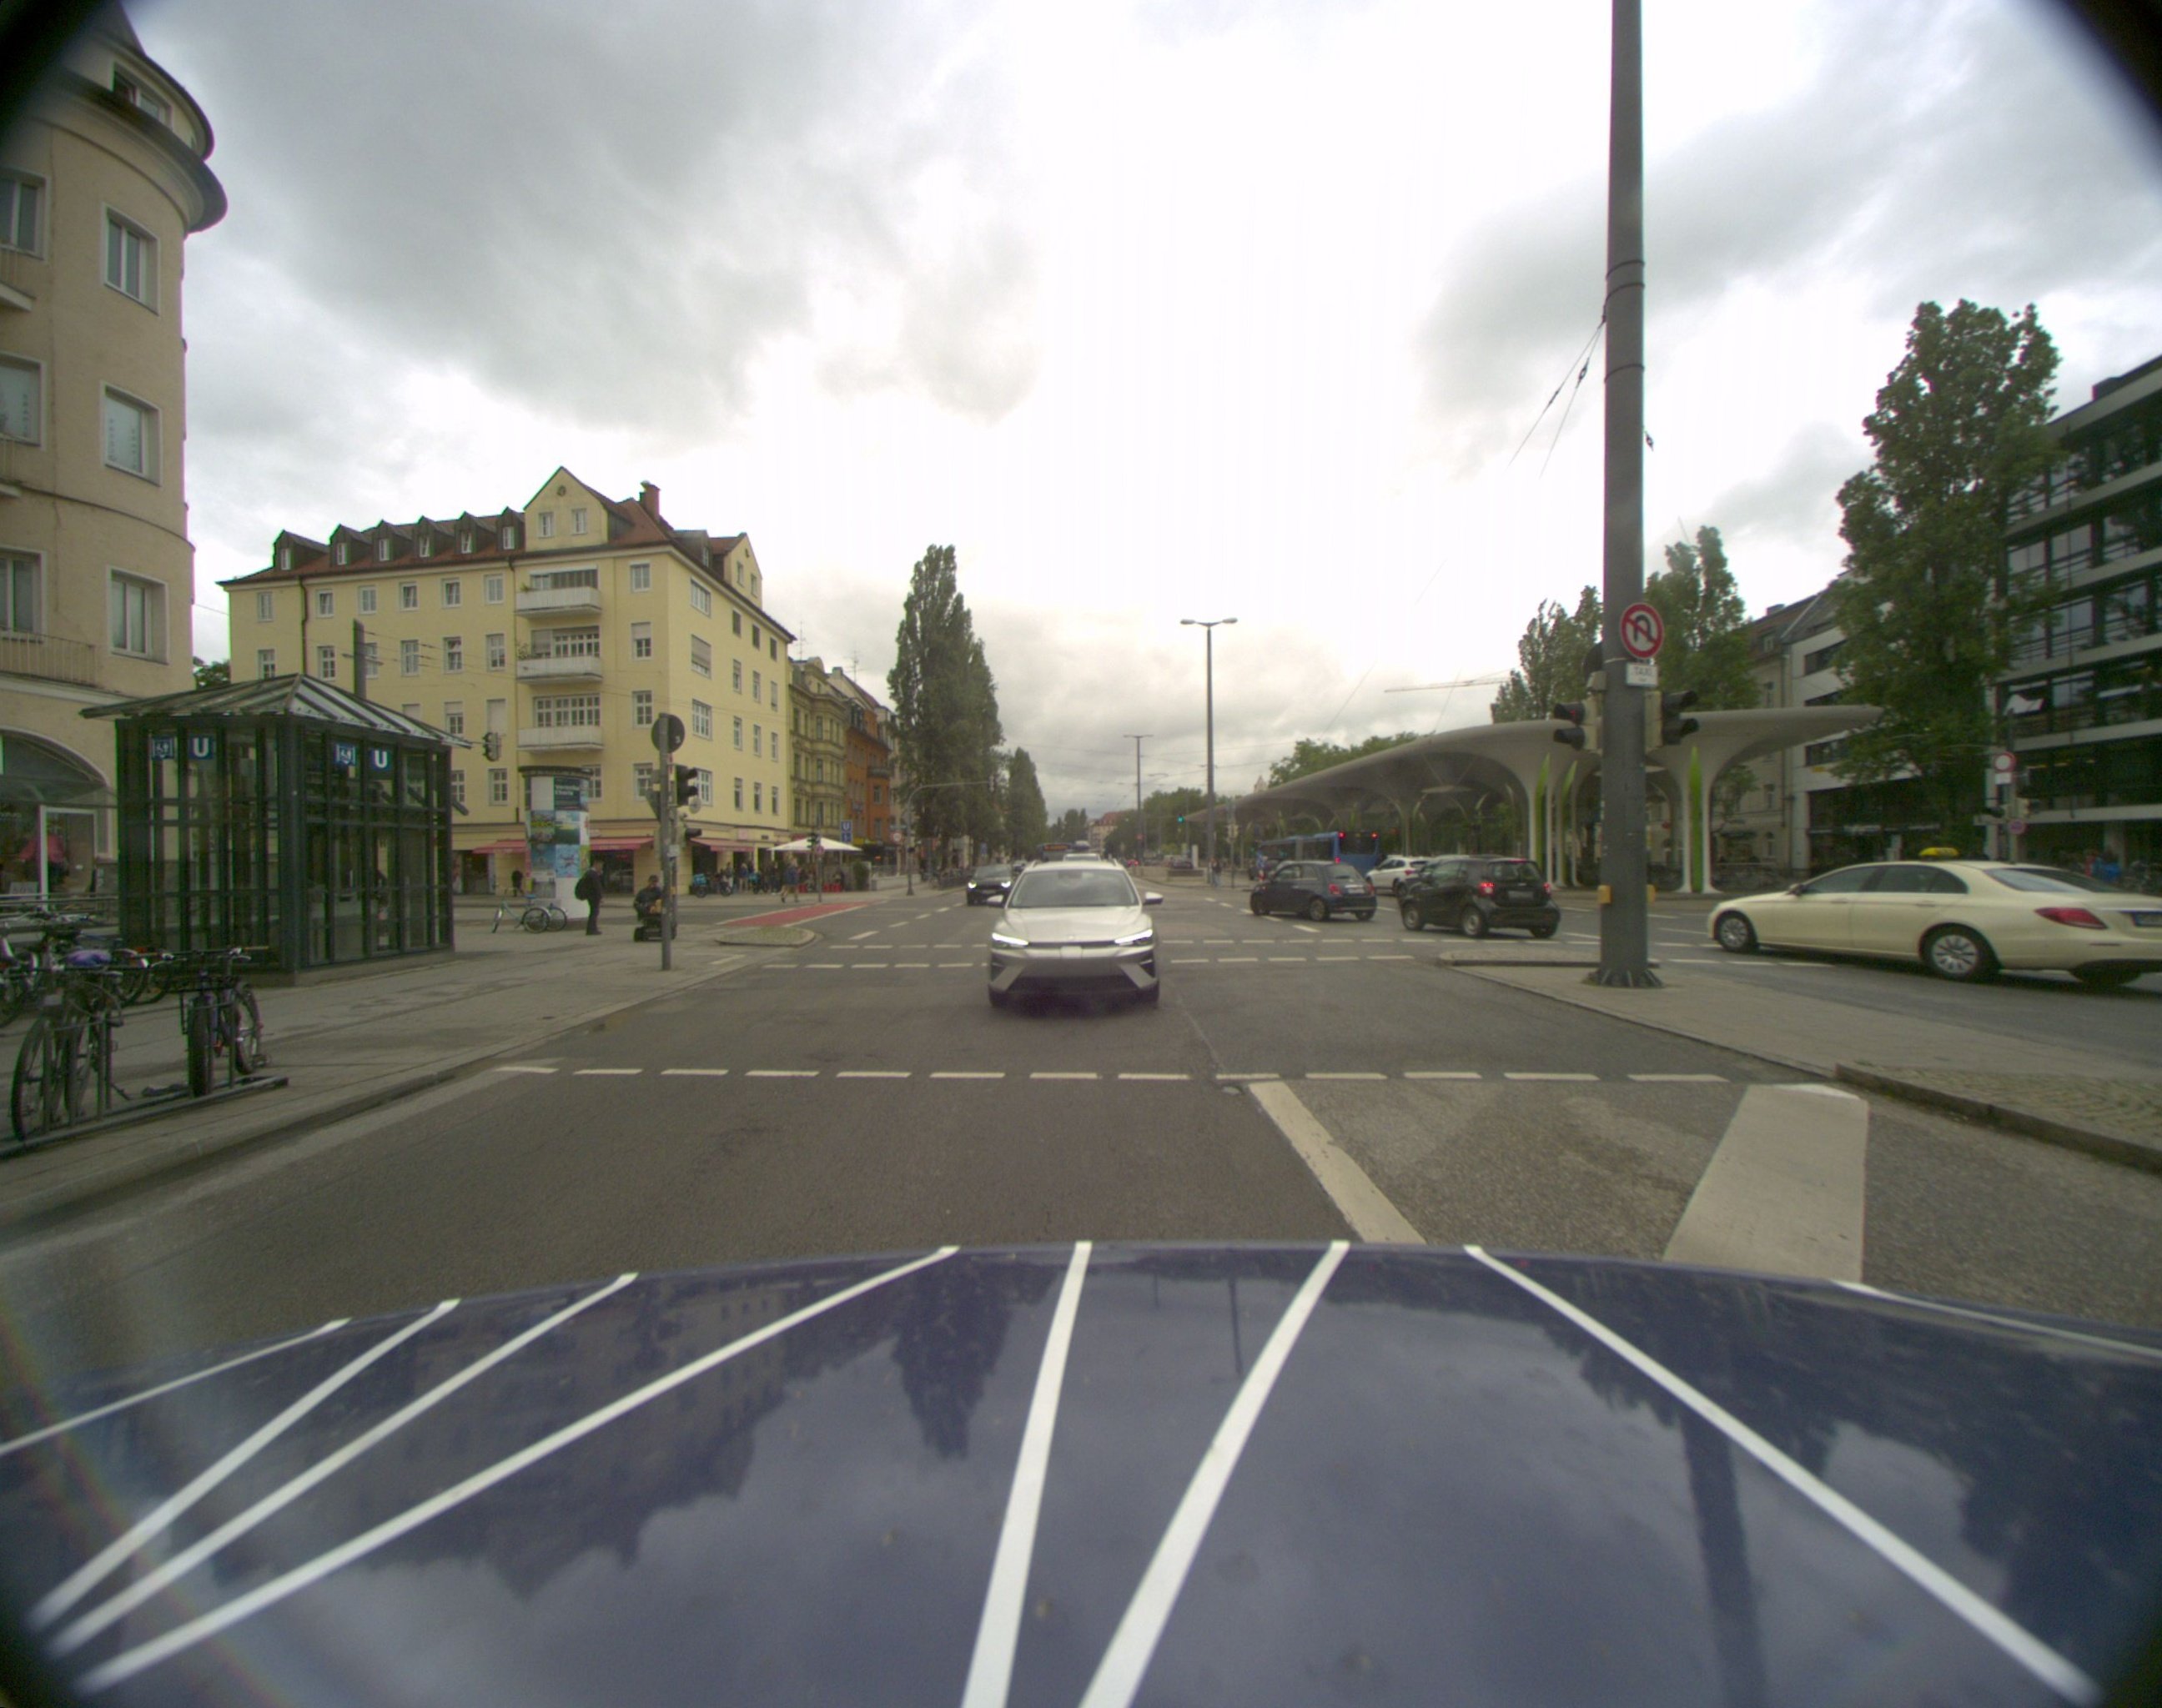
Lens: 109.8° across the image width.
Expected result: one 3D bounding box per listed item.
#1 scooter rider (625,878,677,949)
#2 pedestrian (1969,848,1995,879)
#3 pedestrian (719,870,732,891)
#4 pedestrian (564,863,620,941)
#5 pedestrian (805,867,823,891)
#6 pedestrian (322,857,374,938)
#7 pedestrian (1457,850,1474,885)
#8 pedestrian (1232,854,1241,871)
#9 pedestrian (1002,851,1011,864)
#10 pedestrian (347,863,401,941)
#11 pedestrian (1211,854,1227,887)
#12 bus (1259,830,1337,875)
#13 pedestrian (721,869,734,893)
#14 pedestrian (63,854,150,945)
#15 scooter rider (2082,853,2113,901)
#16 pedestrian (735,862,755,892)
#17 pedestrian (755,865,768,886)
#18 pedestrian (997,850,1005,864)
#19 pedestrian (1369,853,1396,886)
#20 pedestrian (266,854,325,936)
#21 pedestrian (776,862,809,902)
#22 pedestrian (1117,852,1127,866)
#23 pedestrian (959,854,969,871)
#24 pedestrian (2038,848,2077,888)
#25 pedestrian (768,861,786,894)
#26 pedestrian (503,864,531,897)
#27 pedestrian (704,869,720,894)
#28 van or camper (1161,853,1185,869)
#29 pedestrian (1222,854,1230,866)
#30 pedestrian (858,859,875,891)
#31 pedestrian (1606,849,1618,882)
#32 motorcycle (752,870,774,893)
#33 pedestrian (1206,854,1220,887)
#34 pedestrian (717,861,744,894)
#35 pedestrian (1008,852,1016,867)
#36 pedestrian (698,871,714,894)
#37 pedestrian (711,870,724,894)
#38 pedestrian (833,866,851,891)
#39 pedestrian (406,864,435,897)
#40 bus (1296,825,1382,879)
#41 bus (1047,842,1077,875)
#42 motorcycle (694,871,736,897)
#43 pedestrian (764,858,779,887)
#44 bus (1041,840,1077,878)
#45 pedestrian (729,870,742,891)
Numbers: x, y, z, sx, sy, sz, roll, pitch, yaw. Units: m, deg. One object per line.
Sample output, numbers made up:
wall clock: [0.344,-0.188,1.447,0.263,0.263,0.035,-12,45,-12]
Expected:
scooter rider: [-8.762,1.199,15.518,0.703,1.381,0.643,-1,0,-5]
pedestrian: [46.370,0.509,39.110,0.593,1.583,0.674,-1,0,15]
pedestrian: [-19.983,1.507,42.690,0.479,1.159,0.527,-1,0,-2]
pedestrian: [-11.081,1.061,17.230,0.834,1.681,0.821,0,0,37]
pedestrian: [-14.821,1.376,42.209,0.679,1.304,0.796,-1,1,0]
pedestrian: [-15.477,0.913,16.052,0.566,1.660,0.563,-1,-3,22]
pedestrian: [18.850,0.663,37.278,0.548,1.710,0.615,-1,1,7]
pedestrian: [17.730,0.966,86.740,0.667,1.828,0.808,-1,1,-30]
pedestrian: [-9.415,0.482,96.168,0.758,1.628,0.699,-1,-1,-43]
pedestrian: [-16.228,1.091,17.449,0.649,1.740,0.638,-1,-3,22]
pedestrian: [6.876,0.802,37.817,0.488,1.609,0.556,-1,1,-34]
bus: [15.697,-0.090,55.978,2.667,2.990,10.515,1,0,0]
pedestrian: [-19.409,1.476,41.751,0.479,1.291,0.527,-1,0,-2]
pedestrian: [-18.787,0.861,14.658,0.746,1.695,0.682,-1,0,-4]
scooter rider: [39.777,0.890,29.738,0.621,1.824,0.666,-1,0,-30]
pedestrian: [-18.625,1.256,42.084,0.712,1.623,0.786,-1,0,0]
pedestrian: [-20.101,1.366,47.834,0.542,1.282,0.552,-1,0,0]
pedestrian: [-10.041,0.403,95.651,0.699,1.770,0.652,-2,0,33]
pedestrian: [15.419,0.796,38.847,0.975,1.671,0.839,-1,0,-30]
pedestrian: [-16.808,0.882,16.280,0.647,1.694,0.732,1,-3,-29]
pedestrian: [-12.600,1.215,33.238,0.935,1.745,1.065,-1,0,6]
pedestrian: [5.382,0.624,98.882,0.862,1.801,0.895,-3,1,-33]
pedestrian: [-11.112,0.832,72.043,0.762,1.553,0.763,-1,0,1]
pedestrian: [44.642,0.642,34.737,0.720,1.790,0.828,-1,1,10]
pedestrian: [-15.671,1.192,39.179,0.762,1.685,0.766,-1,0,-25]
pedestrian: [-27.986,1.318,37.729,0.760,1.576,0.768,-1,0,4]
pedestrian: [-19.785,1.477,40.711,0.515,1.284,0.703,-1,0,-2]
van or camper: [11.019,0.849,91.392,1.933,1.815,5.439,-1,0,-2]
pedestrian: [19.393,0.840,101.380,0.739,1.619,0.741,-1,0,-21]
pedestrian: [-11.995,1.158,42.465,0.884,1.733,0.857,-1,0,-16]
pedestrian: [30.601,0.667,43.781,0.484,1.921,0.422,-1,0,-29]
motorcycle: [-17.036,1.476,40.708,0.487,1.149,1.571,-1,0,0]
pedestrian: [6.633,0.815,38.147,0.520,1.609,0.465,0,1,44]
pedestrian: [-18.374,1.199,39.788,1.041,1.673,0.836,-1,1,-45]
pedestrian: [-8.836,0.715,97.401,0.881,1.791,0.757,-2,0,10]
pedestrian: [-19.660,1.509,39.859,0.515,1.175,0.703,-1,0,-2]
pedestrian: [-19.947,1.509,41.690,0.479,1.291,0.527,-1,0,-2]
pedestrian: [-13.233,1.346,42.067,0.679,1.303,0.796,-1,1,0]
pedestrian: [-34.576,1.390,39.778,0.852,1.673,0.705,-1,0,10]
bus: [15.763,-0.109,46.970,2.667,2.990,7.512,1,0,0]
bus: [-1.772,0.434,74.680,2.637,2.956,8.534,-3,0,0]
motorcycle: [-17.779,1.453,36.906,1.769,1.193,0.541,-1,1,-30]
pedestrian: [-18.790,1.103,46.189,0.602,1.729,0.666,-1,0,0]
bus: [-1.794,0.422,65.688,2.637,2.956,9.466,-3,0,0]
pedestrian: [-19.452,1.480,42.761,0.479,1.159,0.527,-1,0,-2]
